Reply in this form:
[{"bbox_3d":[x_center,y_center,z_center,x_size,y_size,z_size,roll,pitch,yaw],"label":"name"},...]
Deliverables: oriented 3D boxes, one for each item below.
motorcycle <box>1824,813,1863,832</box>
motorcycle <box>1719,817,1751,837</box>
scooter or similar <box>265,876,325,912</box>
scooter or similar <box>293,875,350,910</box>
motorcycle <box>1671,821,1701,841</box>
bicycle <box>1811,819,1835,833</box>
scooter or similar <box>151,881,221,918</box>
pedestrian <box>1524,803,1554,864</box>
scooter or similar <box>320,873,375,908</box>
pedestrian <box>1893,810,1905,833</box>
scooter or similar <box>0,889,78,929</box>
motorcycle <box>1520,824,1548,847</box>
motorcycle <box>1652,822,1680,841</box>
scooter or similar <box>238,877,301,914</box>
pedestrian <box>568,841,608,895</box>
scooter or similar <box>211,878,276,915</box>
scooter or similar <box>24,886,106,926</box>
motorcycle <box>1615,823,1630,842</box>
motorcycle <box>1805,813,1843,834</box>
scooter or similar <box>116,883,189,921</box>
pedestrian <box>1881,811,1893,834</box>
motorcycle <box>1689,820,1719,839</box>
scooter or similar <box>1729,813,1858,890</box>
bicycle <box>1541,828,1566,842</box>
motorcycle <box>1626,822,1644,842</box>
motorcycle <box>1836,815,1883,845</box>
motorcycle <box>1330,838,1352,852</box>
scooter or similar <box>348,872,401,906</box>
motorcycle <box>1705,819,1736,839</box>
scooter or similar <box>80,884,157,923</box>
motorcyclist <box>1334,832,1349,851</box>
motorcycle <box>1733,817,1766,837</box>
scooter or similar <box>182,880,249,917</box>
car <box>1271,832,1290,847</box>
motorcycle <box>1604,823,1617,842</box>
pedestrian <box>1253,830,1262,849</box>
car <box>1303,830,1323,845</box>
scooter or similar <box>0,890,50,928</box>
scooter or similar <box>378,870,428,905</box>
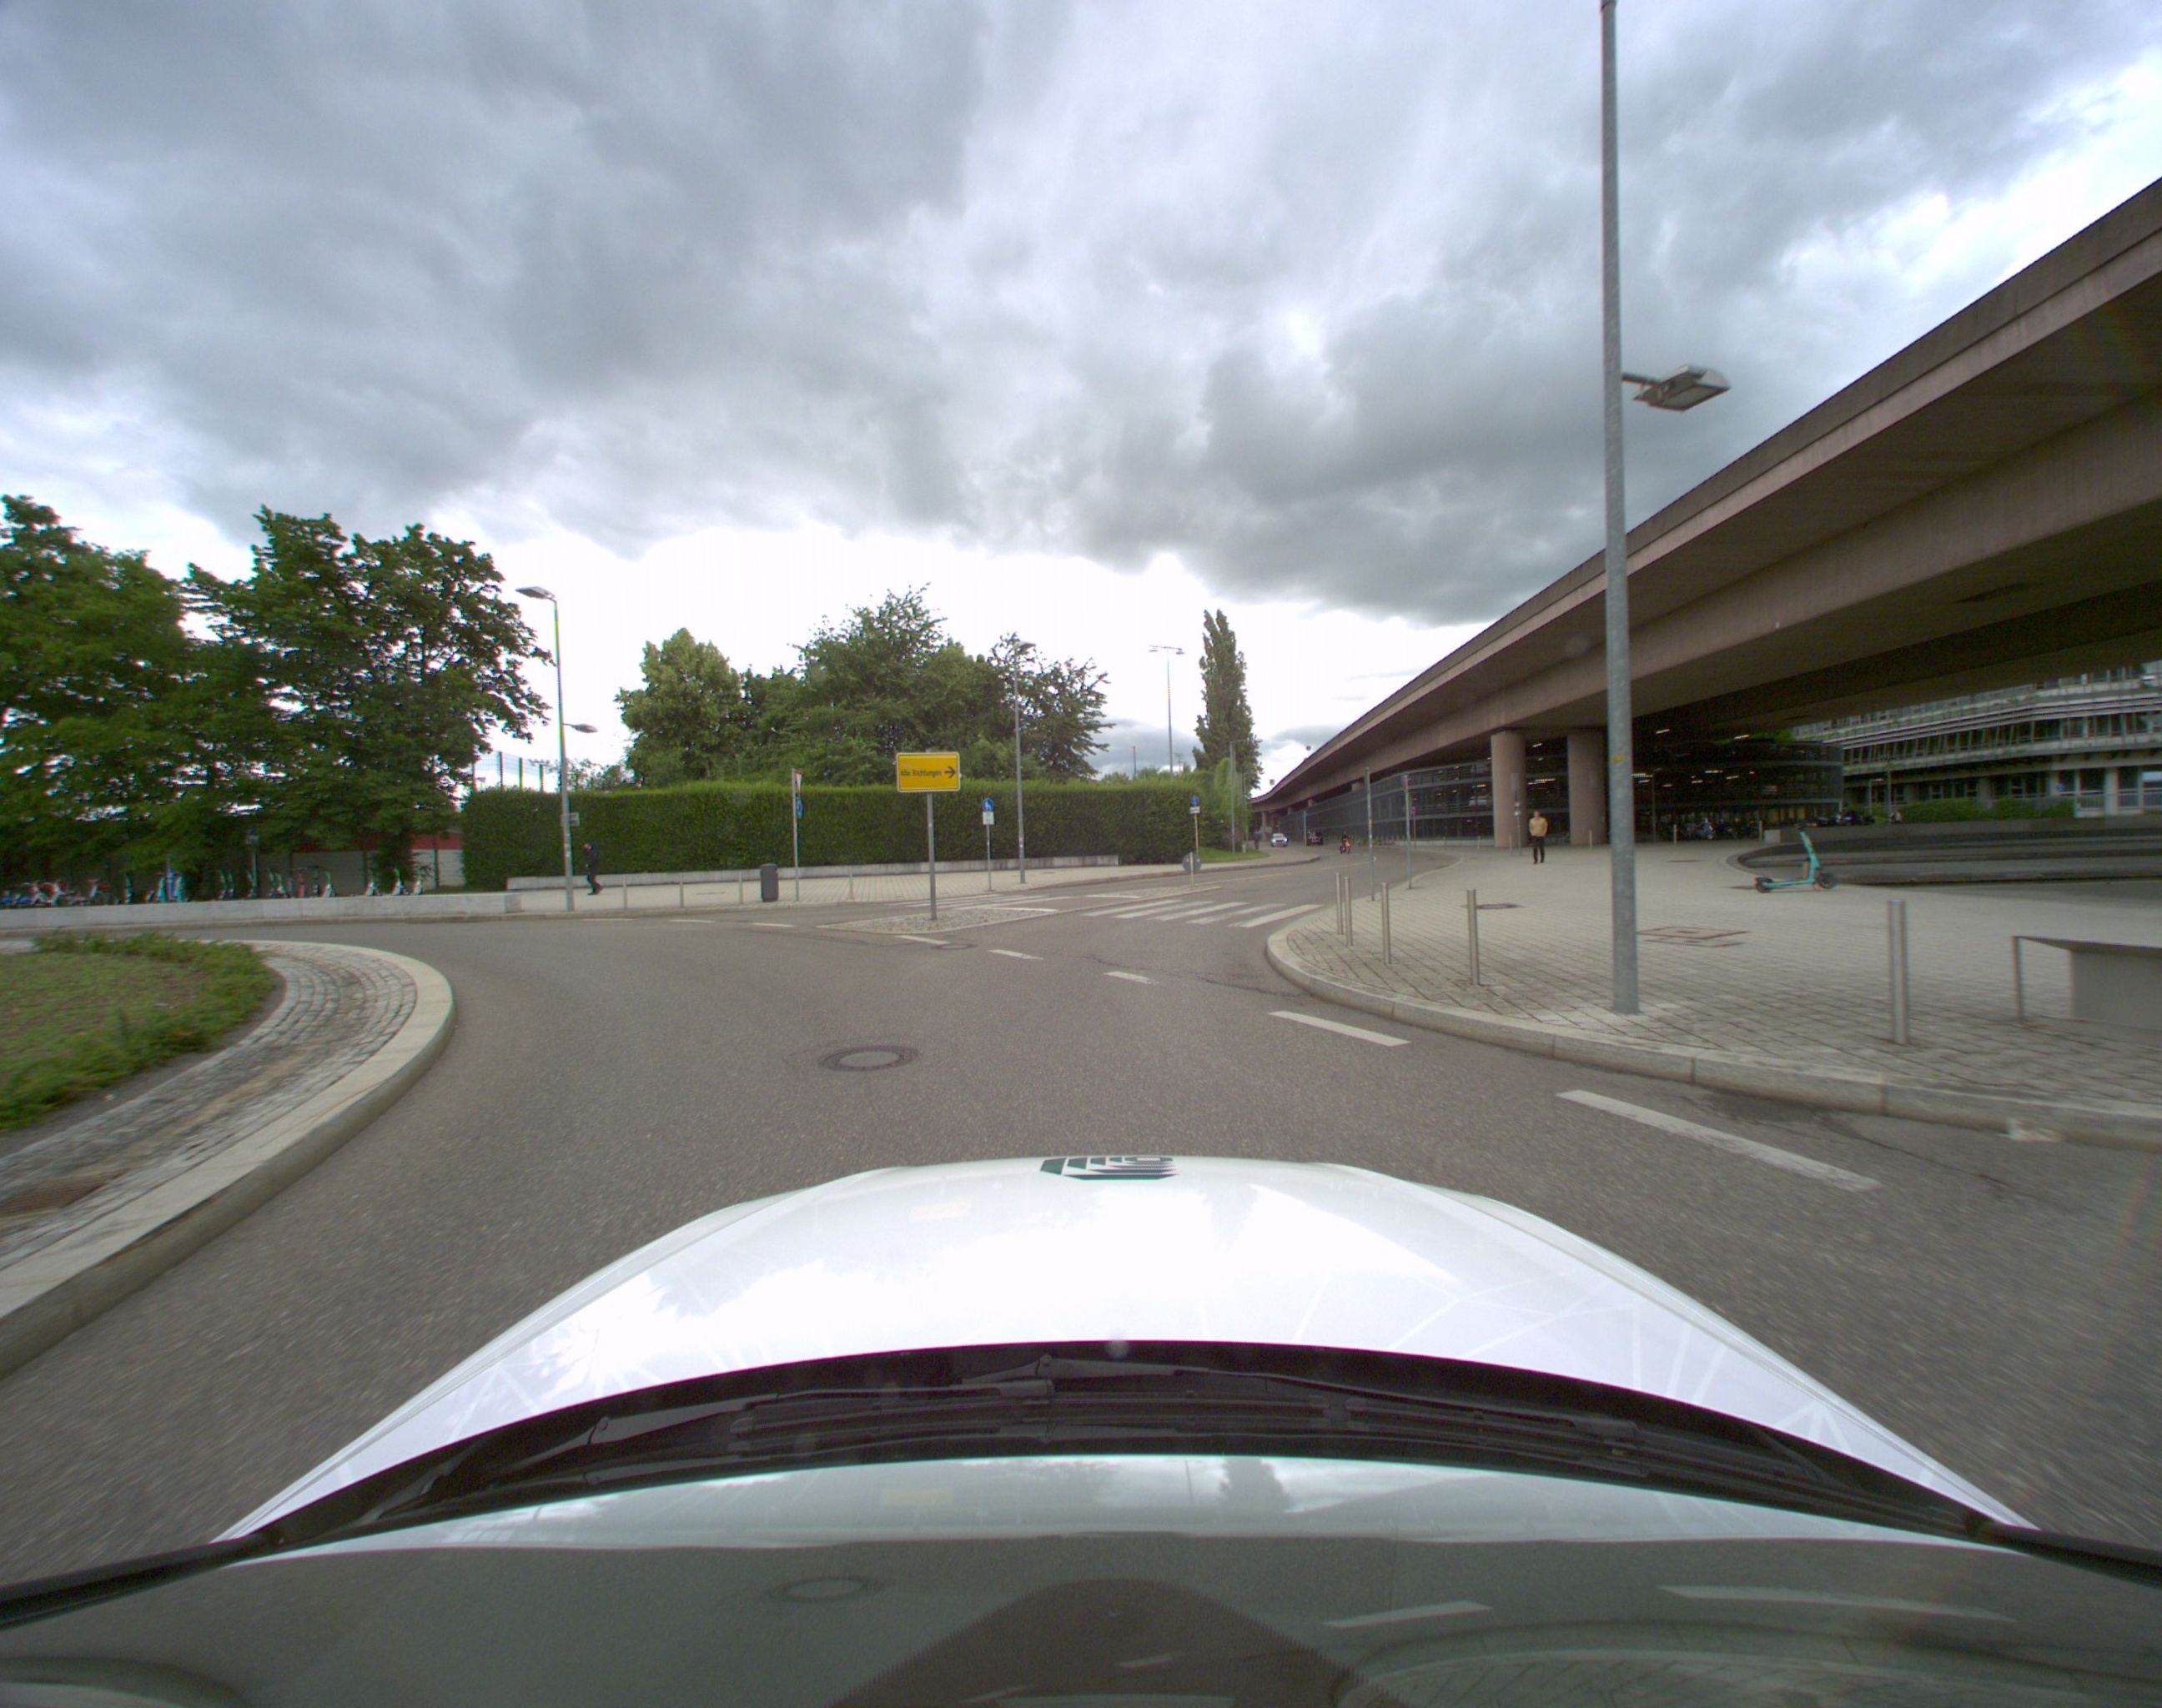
[{"bbox_3d":[49.761,-2.063,53.180,0.668,1.220,2.371,-3,2,10],"label":"motorcycle"},{"bbox_3d":[42.481,-1.770,52.924,0.668,1.285,2.085,-3,2,10],"label":"motorcycle"},{"bbox_3d":[-27.766,1.378,28.797,0.640,1.109,1.964,-3,2,-17],"label":"scooter or similar"},{"bbox_3d":[-27.040,1.345,29.032,0.640,1.109,1.964,-3,2,-17],"label":"scooter or similar"},{"bbox_3d":[39.582,-1.529,53.300,0.668,1.220,2.085,-3,2,10],"label":"motorcycle"},{"bbox_3d":[50.048,-1.869,54.928,1.504,0.895,0.473,-3,2,-17],"label":"bicycle"},{"bbox_3d":[-30.605,1.539,27.876,0.640,1.109,1.964,-3,2,-17],"label":"scooter or similar"},{"bbox_3d":[15.540,-0.716,27.608,0.774,2.013,1.046,-2,2,33],"label":"pedestrian"},{"bbox_3d":[-26.354,1.290,29.292,0.640,1.109,1.964,-3,2,-17],"label":"scooter or similar"},{"bbox_3d":[72.424,-2.832,72.106,0.523,2.013,0.576,-1,0,18],"label":"pedestrian"},{"bbox_3d":[-34.203,1.771,26.689,0.640,1.109,1.964,-3,2,-17],"label":"scooter or similar"},{"bbox_3d":[29.444,-1.228,52.961,0.641,1.454,1.759,-3,2,-6],"label":"motorcycle"},{"bbox_3d":[38.584,-1.501,53.725,0.668,1.220,2.085,-3,2,10],"label":"motorcycle"},{"bbox_3d":[-28.428,1.429,28.566,0.640,1.109,1.964,-3,2,-17],"label":"scooter or similar"},{"bbox_3d":[-16.984,0.466,28.081,0.864,1.807,0.790,-3,2,-12],"label":"pedestrian"},{"bbox_3d":[-29.096,1.464,28.330,0.640,1.109,1.964,-3,2,-17],"label":"scooter or similar"},{"bbox_3d":[-33.533,1.694,26.913,0.640,1.109,1.964,-3,2,-17],"label":"scooter or similar"},{"bbox_3d":[33.874,-1.346,50.929,1.157,1.171,0.515,-1,-1,-45],"label":"motorcycle"},{"bbox_3d":[48.398,-1.988,53.058,0.668,1.275,2.371,-3,2,10],"label":"motorcycle"},{"bbox_3d":[-31.430,1.597,27.599,0.640,1.109,1.964,-3,2,-17],"label":"scooter or similar"},{"bbox_3d":[72.027,-2.832,72.749,0.523,2.013,0.576,-1,0,17],"label":"pedestrian"},{"bbox_3d":[40.727,-1.616,53.259,0.668,1.220,2.085,-3,2,10],"label":"motorcycle"},{"bbox_3d":[12.663,-0.043,14.529,1.629,1.295,0.521,-2,2,24],"label":"scooter or similar"},{"bbox_3d":[33.350,-1.335,57.525,1.458,0.976,0.455,-2,2,35],"label":"bicycle"},{"bbox_3d":[36.531,-1.434,53.732,0.822,1.220,2.092,-2,2,31],"label":"motorcycle"},{"bbox_3d":[34.865,-1.074,36.480,1.936,1.264,0.546,-3,2,-13],"label":"motorcycle"},{"bbox_3d":[19.592,-0.683,61.314,0.746,1.022,1.951,-3,2,-9],"label":"motorcycle"},{"bbox_3d":[-25.593,1.250,29.547,0.640,1.109,1.964,-3,2,-17],"label":"scooter or similar"},{"bbox_3d":[41.654,-1.625,53.048,0.668,1.220,2.085,-3,2,10],"label":"motorcycle"},{"bbox_3d":[-32.238,1.642,27.313,0.640,1.109,1.964,-3,2,-17],"label":"scooter or similar"},{"bbox_3d":[19.589,-0.944,61.249,0.761,1.419,0.867,-3,2,-9],"label":"motorcyclist"},{"bbox_3d":[43.224,-1.773,52.666,0.668,1.220,2.085,-3,2,10],"label":"motorcycle"},{"bbox_3d":[-29.835,1.507,28.118,0.640,1.109,1.964,-3,2,-17],"label":"scooter or similar"},{"bbox_3d":[25.452,-1.903,104.222,1.854,1.683,4.416,-3,2,8],"label":"car"},{"bbox_3d":[34.888,-1.409,53.655,0.515,1.220,1.158,-2,2,40],"label":"motorcycle"},{"bbox_3d":[17.183,-1.452,79.344,0.798,1.780,0.923,-2,2,12],"label":"pedestrian"},{"bbox_3d":[27.590,-1.999,97.028,1.828,1.711,3.716,-3,2,10],"label":"car"},{"bbox_3d":[-34.877,1.793,26.461,0.640,1.109,1.964,-3,2,-17],"label":"scooter or similar"},{"bbox_3d":[-24.790,1.208,29.803,0.640,1.109,1.964,-3,2,-17],"label":"scooter or similar"}]
